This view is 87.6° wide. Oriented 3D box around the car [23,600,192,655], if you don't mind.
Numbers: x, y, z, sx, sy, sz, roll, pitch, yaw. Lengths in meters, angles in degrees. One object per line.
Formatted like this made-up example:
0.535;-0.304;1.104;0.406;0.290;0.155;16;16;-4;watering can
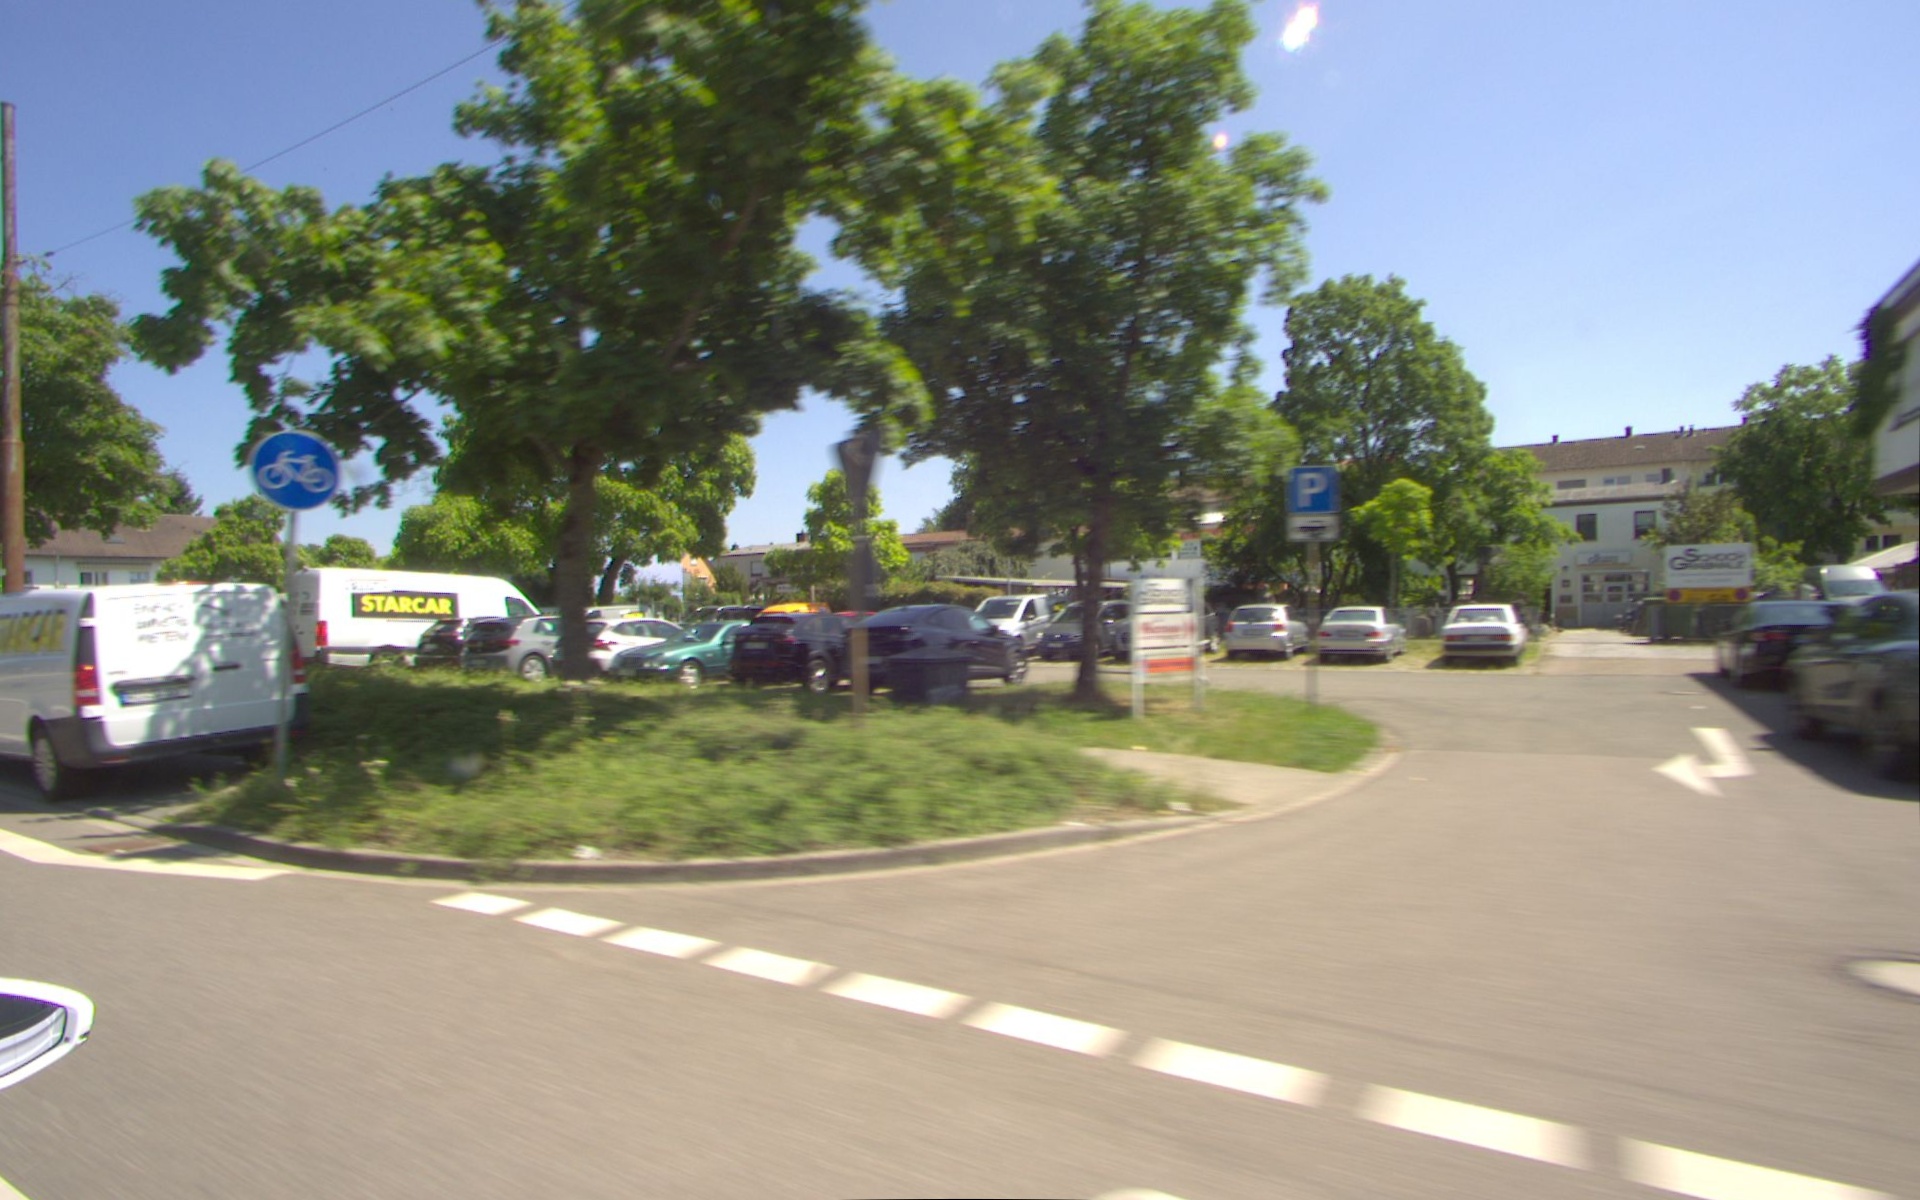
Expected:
-31.716;1.067;37.413;1.924;1.933;4.405;-1;-3;28;car

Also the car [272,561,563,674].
-13.845;0.544;26.073;2.233;2.561;6.326;-1;-3;35;car

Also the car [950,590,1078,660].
1.785;0.716;31.269;1.881;1.926;4.906;-1;1;31;car

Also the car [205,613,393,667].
-20.109;1.232;30.678;1.924;1.524;4.404;-1;-3;29;car

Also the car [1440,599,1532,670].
12.636;0.755;23.942;1.609;1.456;3.970;-1;1;33;car

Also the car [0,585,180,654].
-34.122;0.844;39.028;2.065;2.490;5.481;-1;-3;33;car

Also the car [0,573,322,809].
-8.994;0.772;10.523;5.052;1.943;1.874;-1;2;33;car

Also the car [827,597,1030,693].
-0.420;0.812;17.980;1.654;1.509;4.195;-1;-3;31;car

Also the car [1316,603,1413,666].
10.472;0.833;25.769;1.609;1.388;3.970;-1;1;33;car

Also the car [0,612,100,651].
-40.620;1.386;43.416;1.927;1.665;4.685;-1;-3;33;car

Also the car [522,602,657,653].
-15.499;1.105;42.151;2.065;1.901;5.083;-1;1;33;car

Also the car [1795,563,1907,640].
30.379;0.069;34.307;1.971;2.445;5.063;0;0;31;car

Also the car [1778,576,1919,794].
8.955;0.639;8.859;1.915;1.632;4.135;-1;-1;29;car

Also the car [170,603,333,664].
-22.410;1.088;31.816;1.924;1.806;3.779;-1;-3;28;car

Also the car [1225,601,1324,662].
8.715;0.820;27.576;1.609;1.463;3.970;-1;1;33;car

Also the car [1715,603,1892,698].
14.037;0.771;16.897;1.724;1.392;4.130;-1;-1;32;car

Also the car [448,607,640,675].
-9.338;0.947;22.809;1.700;1.397;3.887;-1;-3;26;car

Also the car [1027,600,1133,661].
3.691;0.871;30.226;1.609;1.626;3.970;-1;1;33;car

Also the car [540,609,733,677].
-6.990;0.946;21.997;1.702;1.341;3.882;-1;-3;31;car

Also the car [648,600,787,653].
-9.196;0.969;38.410;2.065;1.776;5.141;-1;1;33;car

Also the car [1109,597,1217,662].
5.810;0.778;28.310;1.645;1.622;3.970;-1;1;33;car

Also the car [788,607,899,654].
-4.117;1.065;36.108;1.609;1.456;4.299;-1;1;33;car

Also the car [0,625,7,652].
-49.533;1.866;49.006;1.745;1.375;3.854;-1;-3;33;car

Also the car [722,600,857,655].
-6.307;0.970;37.607;2.065;1.776;5.141;-1;1;33;car

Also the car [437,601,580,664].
-19.943;1.376;44.511;2.065;2.492;5.476;-1;1;33;car

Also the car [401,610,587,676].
-11.362;1.057;24.657;1.702;1.490;3.884;-1;-3;30;car

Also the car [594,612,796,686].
-5.241;0.976;20.267;1.702;1.341;3.882;-1;-3;31;car

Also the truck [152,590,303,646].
-44.258;1.032;60.747;2.389;3.126;6.932;-1;1;31;truck

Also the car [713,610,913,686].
-2.684;0.905;19.088;1.702;1.297;3.882;-1;-3;31;car

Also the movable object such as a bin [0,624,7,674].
-26.543;1.330;27.180;0.876;1.370;0.791;0;0;32;movable object such as a bin

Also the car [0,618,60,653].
-43.110;1.582;44.708;1.744;1.509;4.018;-1;-3;30;car
